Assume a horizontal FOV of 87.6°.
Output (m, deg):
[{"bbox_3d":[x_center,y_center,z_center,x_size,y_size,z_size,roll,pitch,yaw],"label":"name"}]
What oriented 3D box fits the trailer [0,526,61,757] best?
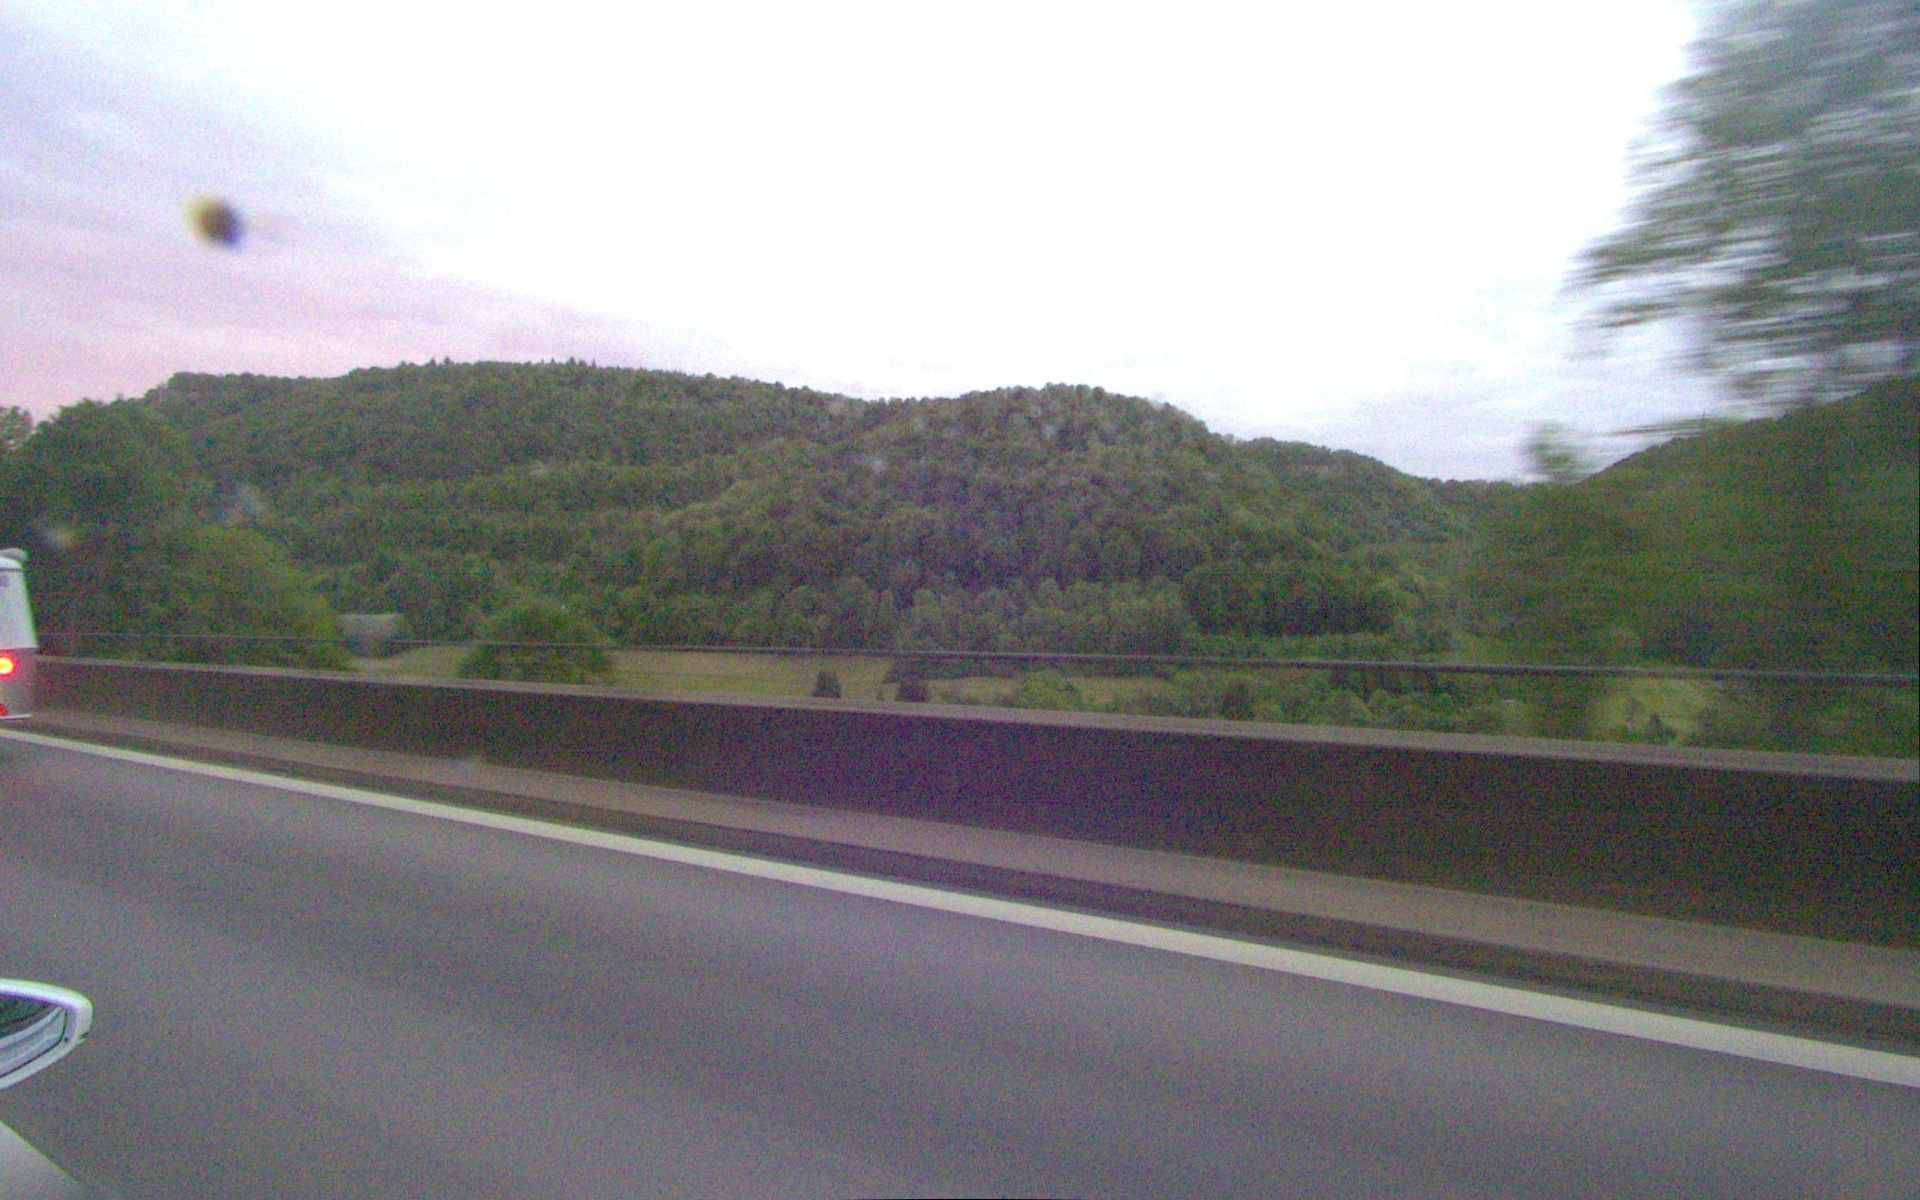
[{"bbox_3d":[-12.778,0.485,11.475,5.852,2.407,2.050,-1,2,32],"label":"trailer"}]
